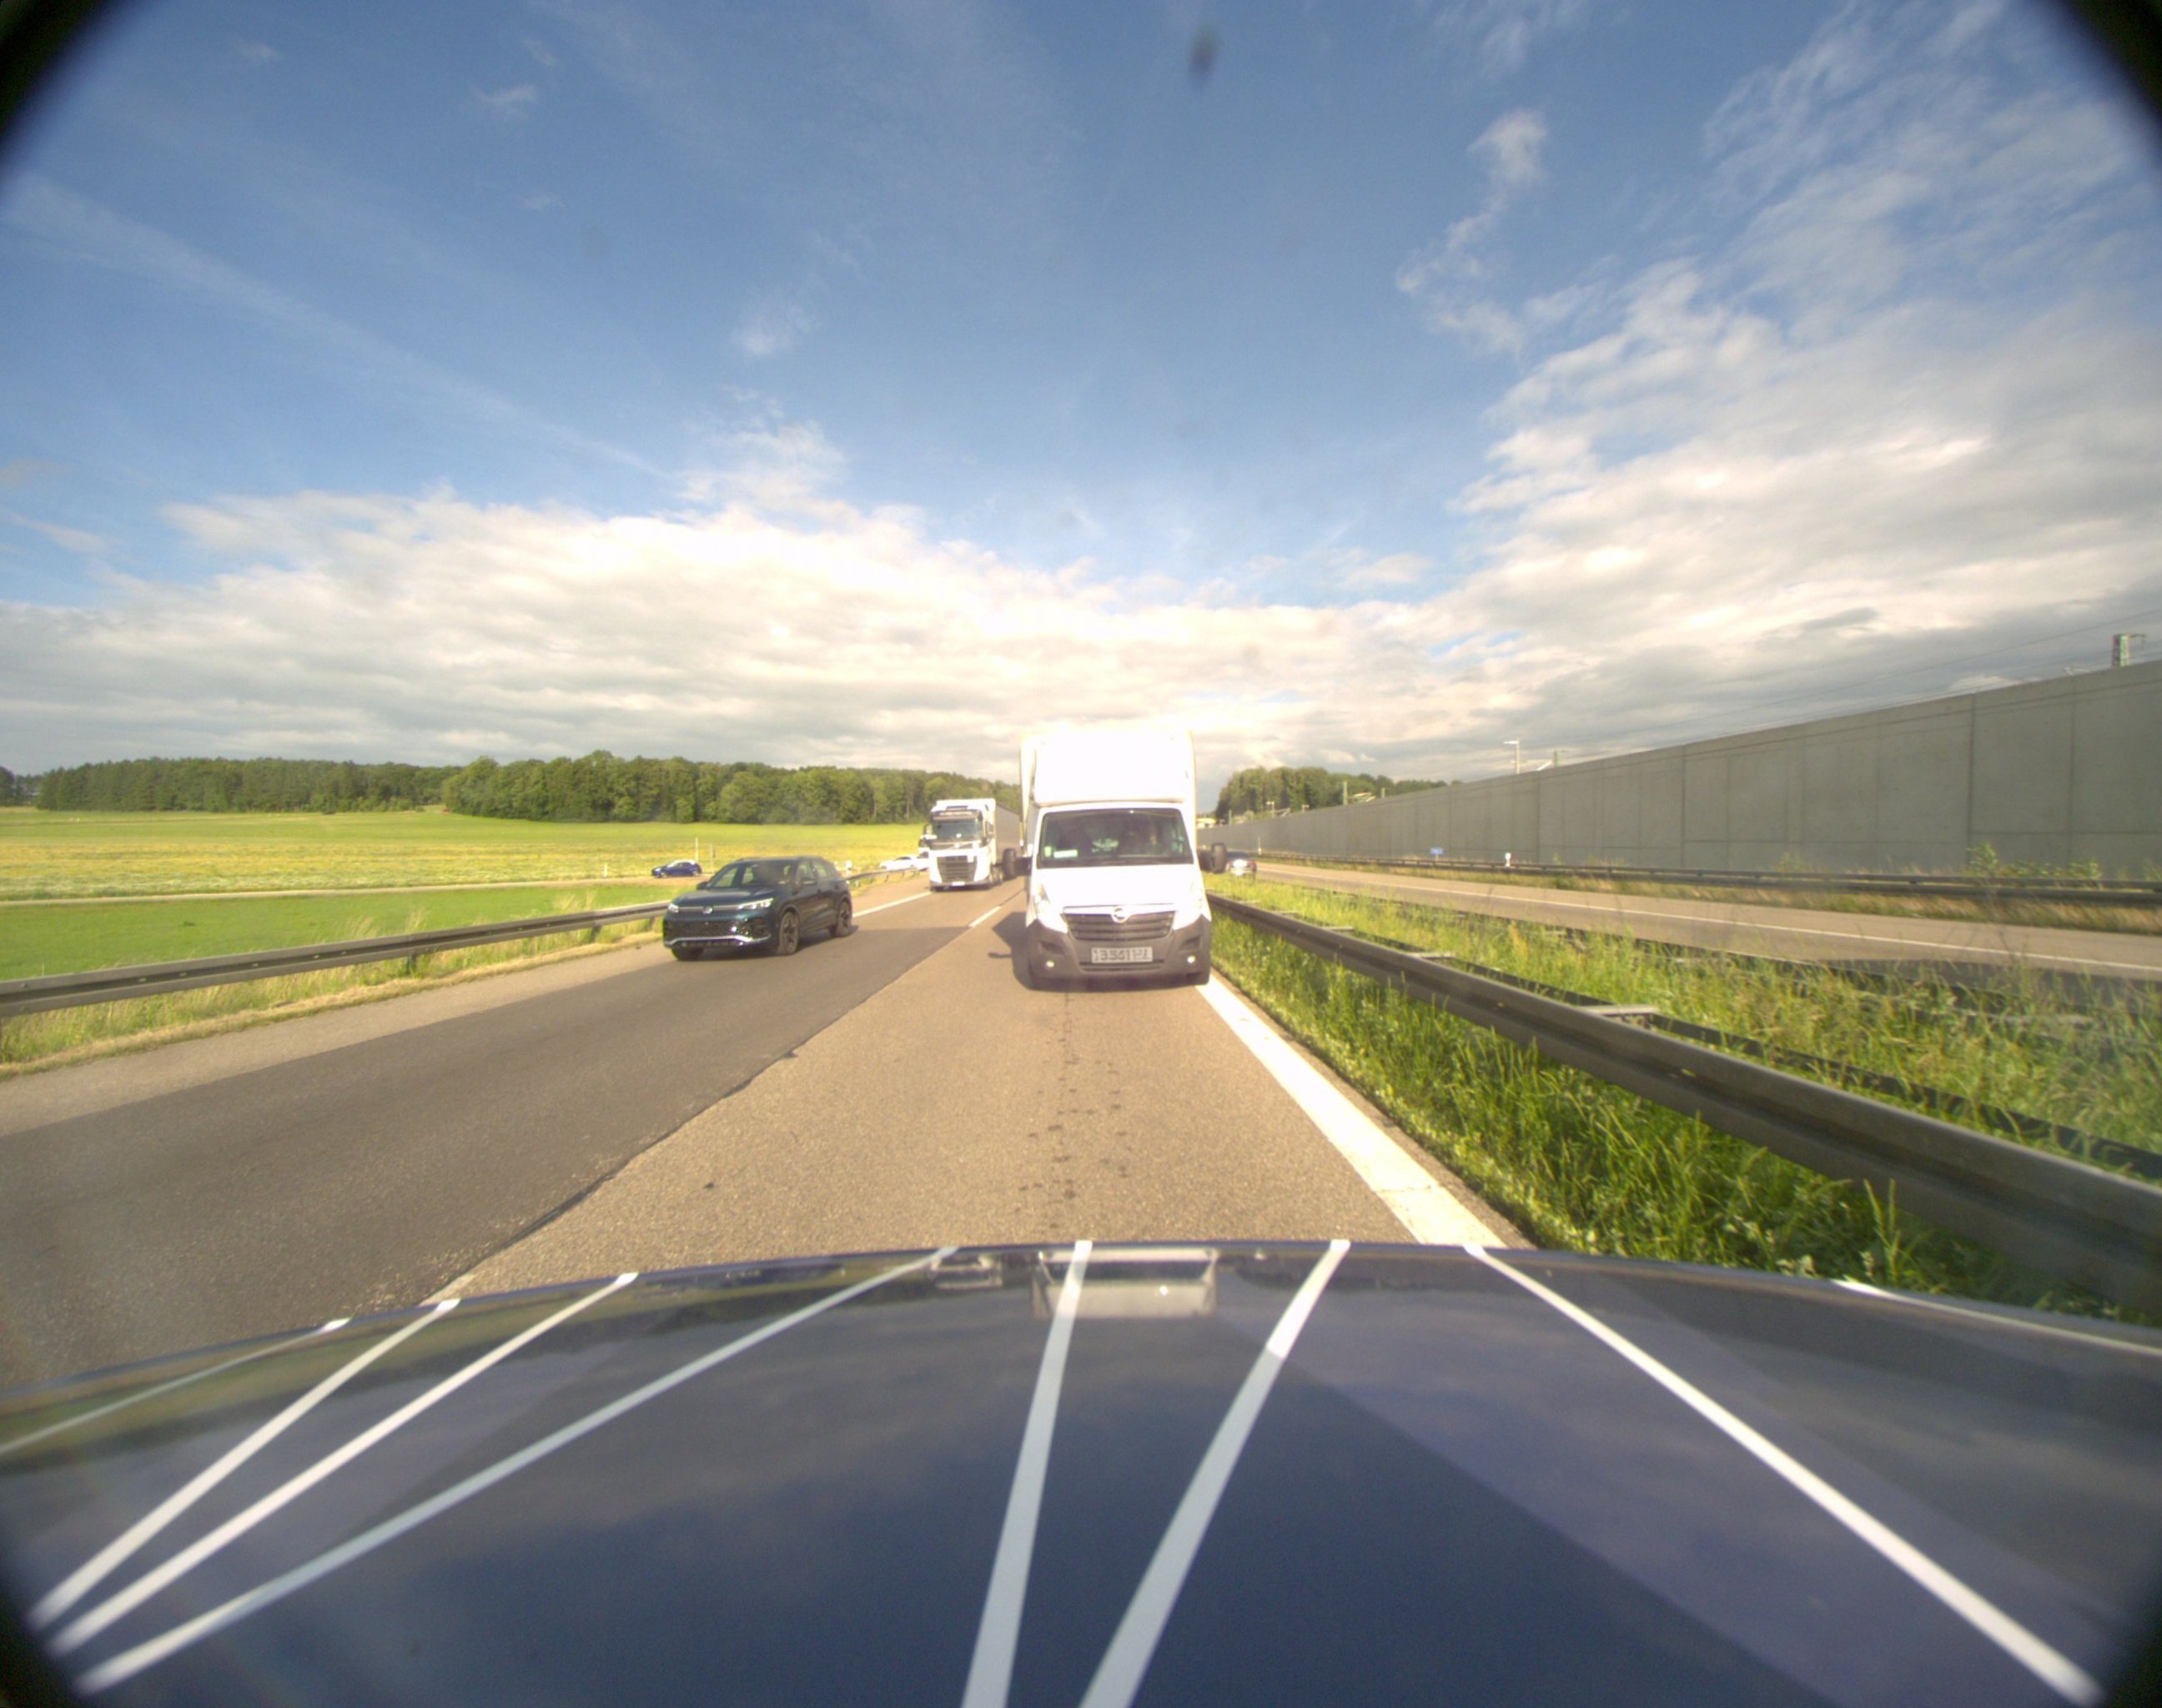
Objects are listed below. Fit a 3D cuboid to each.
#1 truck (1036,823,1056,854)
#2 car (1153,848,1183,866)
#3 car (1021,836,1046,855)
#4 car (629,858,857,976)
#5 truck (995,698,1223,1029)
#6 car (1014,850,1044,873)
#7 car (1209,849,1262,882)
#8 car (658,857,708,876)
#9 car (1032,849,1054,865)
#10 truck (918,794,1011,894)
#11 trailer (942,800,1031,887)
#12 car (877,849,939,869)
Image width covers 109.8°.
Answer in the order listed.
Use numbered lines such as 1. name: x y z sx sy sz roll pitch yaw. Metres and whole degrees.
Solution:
1. truck: -4.350 -1.885 94.537 1.998 3.663 5.931 -2 1 1
2. car: 7.668 0.213 67.661 1.999 1.477 4.397 -2 1 -2
3. car: -4.366 -0.804 70.535 1.998 1.647 3.999 -2 1 1
4. car: -5.629 0.953 13.341 1.998 1.587 4.119 -2 1 2
5. truck: 0.390 0.039 11.144 2.059 3.088 7.803 -2 1 2
6. car: -4.026 0.580 59.366 1.998 1.647 3.999 -2 1 1
7. car: 7.889 0.553 39.219 1.807 1.508 4.690 -2 1 1
8. car: -35.073 1.091 66.952 3.567 1.521 1.720 -3 1 -38
9. car: -4.136 0.327 83.318 1.998 1.647 3.999 -2 1 1
10. truck: -5.024 -0.461 34.092 2.842 3.967 6.500 -2 1 2
11. trailer: -4.765 -0.577 41.297 2.826 3.959 12.127 -2 1 2
12. car: -15.412 0.437 67.576 5.069 1.537 2.003 -2 1 23
